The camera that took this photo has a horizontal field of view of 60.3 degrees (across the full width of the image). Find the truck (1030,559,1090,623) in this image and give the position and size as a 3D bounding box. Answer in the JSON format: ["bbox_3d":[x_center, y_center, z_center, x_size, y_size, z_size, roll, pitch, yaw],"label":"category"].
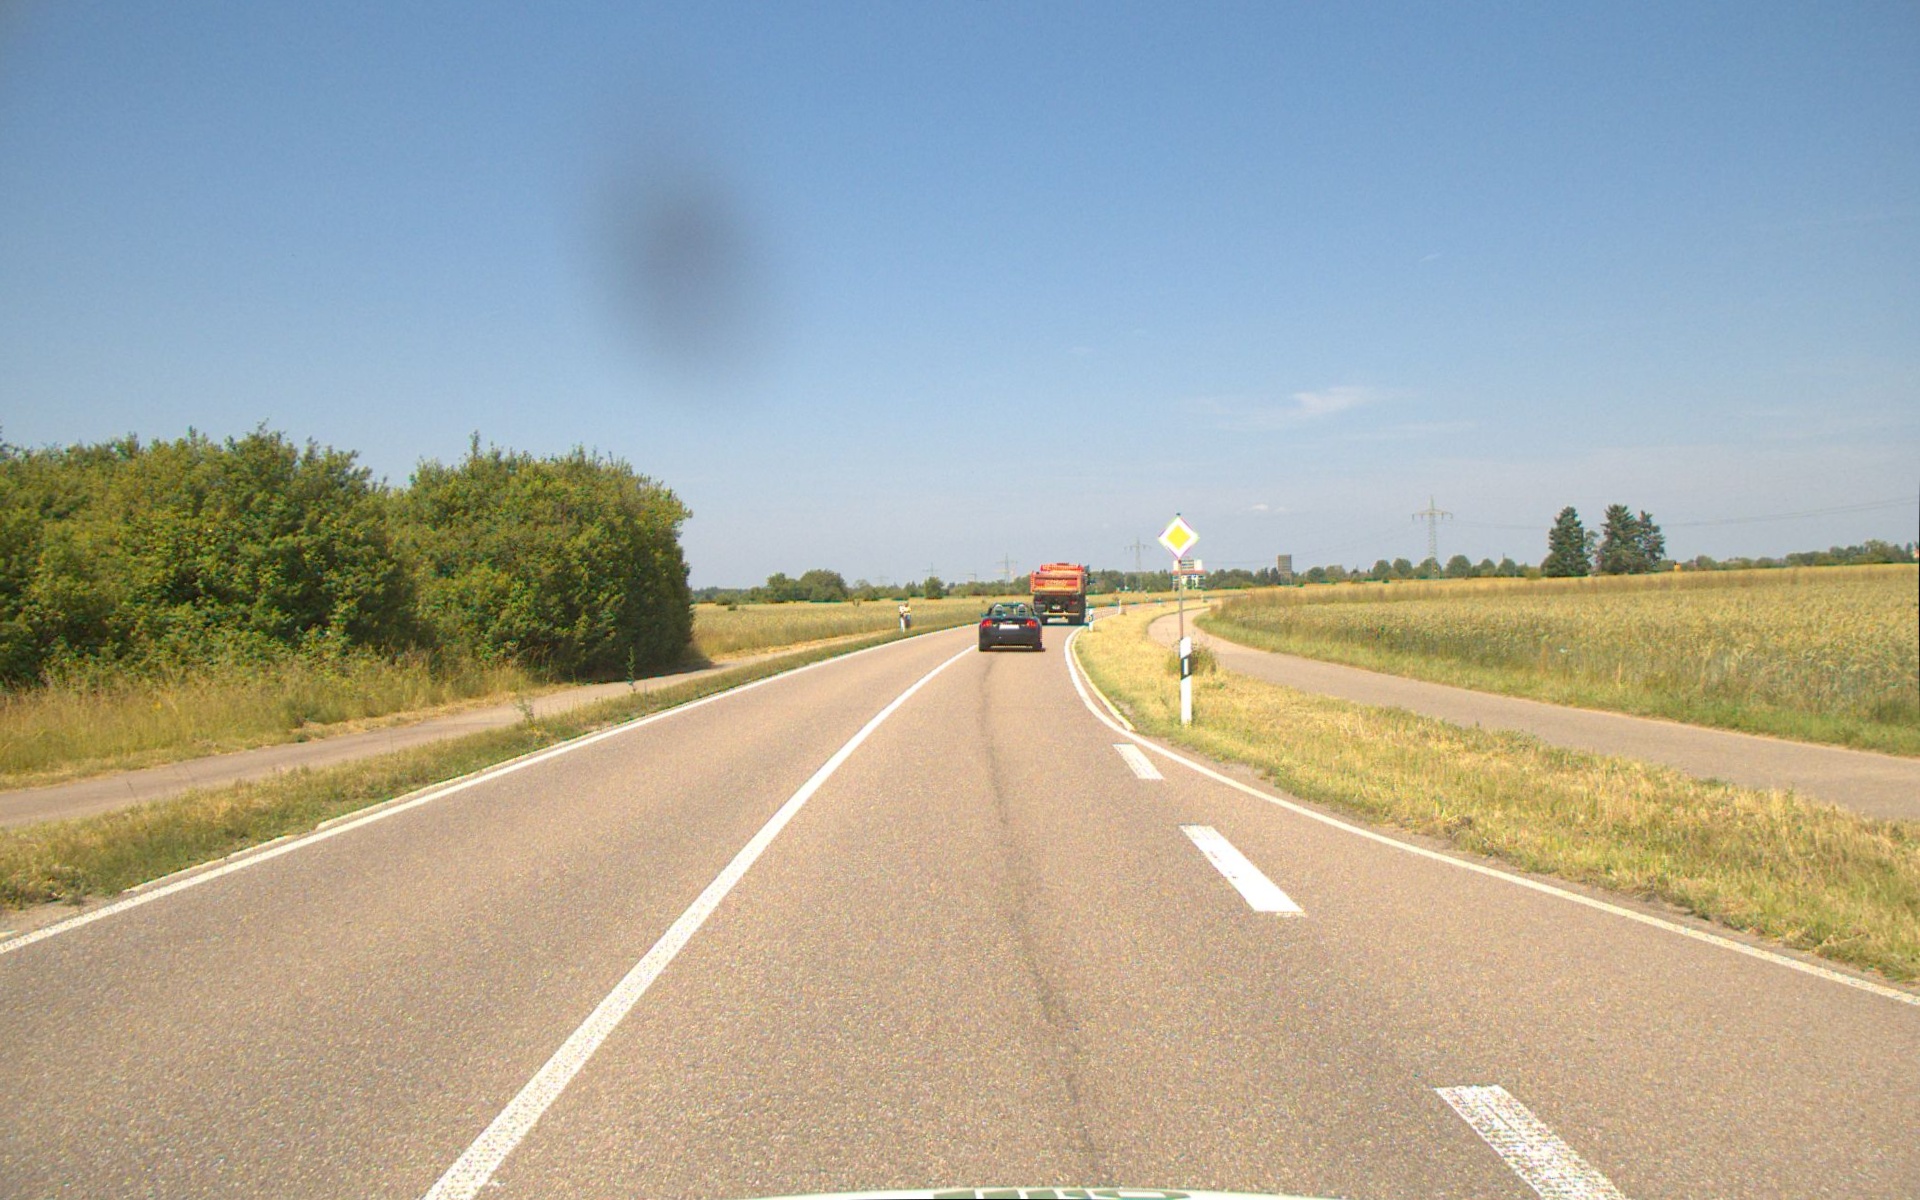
[{"bbox_3d":[5.126,-0.427,84.671,2.876,3.143,7.199,-1,0,4],"label":"truck"}]

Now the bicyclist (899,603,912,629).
[{"bbox_3d":[-3.077,0.910,93.470,0.650,1.463,0.823,-1,0,6],"label":"bicyclist"}]

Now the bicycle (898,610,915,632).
[{"bbox_3d":[-3.016,1.182,93.556,0.679,1.197,1.965,-2,0,6],"label":"bicycle"}]

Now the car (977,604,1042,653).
[{"bbox_3d":[1.429,0.779,46.661,1.707,1.302,4.002,0,0,3],"label":"car"}]
